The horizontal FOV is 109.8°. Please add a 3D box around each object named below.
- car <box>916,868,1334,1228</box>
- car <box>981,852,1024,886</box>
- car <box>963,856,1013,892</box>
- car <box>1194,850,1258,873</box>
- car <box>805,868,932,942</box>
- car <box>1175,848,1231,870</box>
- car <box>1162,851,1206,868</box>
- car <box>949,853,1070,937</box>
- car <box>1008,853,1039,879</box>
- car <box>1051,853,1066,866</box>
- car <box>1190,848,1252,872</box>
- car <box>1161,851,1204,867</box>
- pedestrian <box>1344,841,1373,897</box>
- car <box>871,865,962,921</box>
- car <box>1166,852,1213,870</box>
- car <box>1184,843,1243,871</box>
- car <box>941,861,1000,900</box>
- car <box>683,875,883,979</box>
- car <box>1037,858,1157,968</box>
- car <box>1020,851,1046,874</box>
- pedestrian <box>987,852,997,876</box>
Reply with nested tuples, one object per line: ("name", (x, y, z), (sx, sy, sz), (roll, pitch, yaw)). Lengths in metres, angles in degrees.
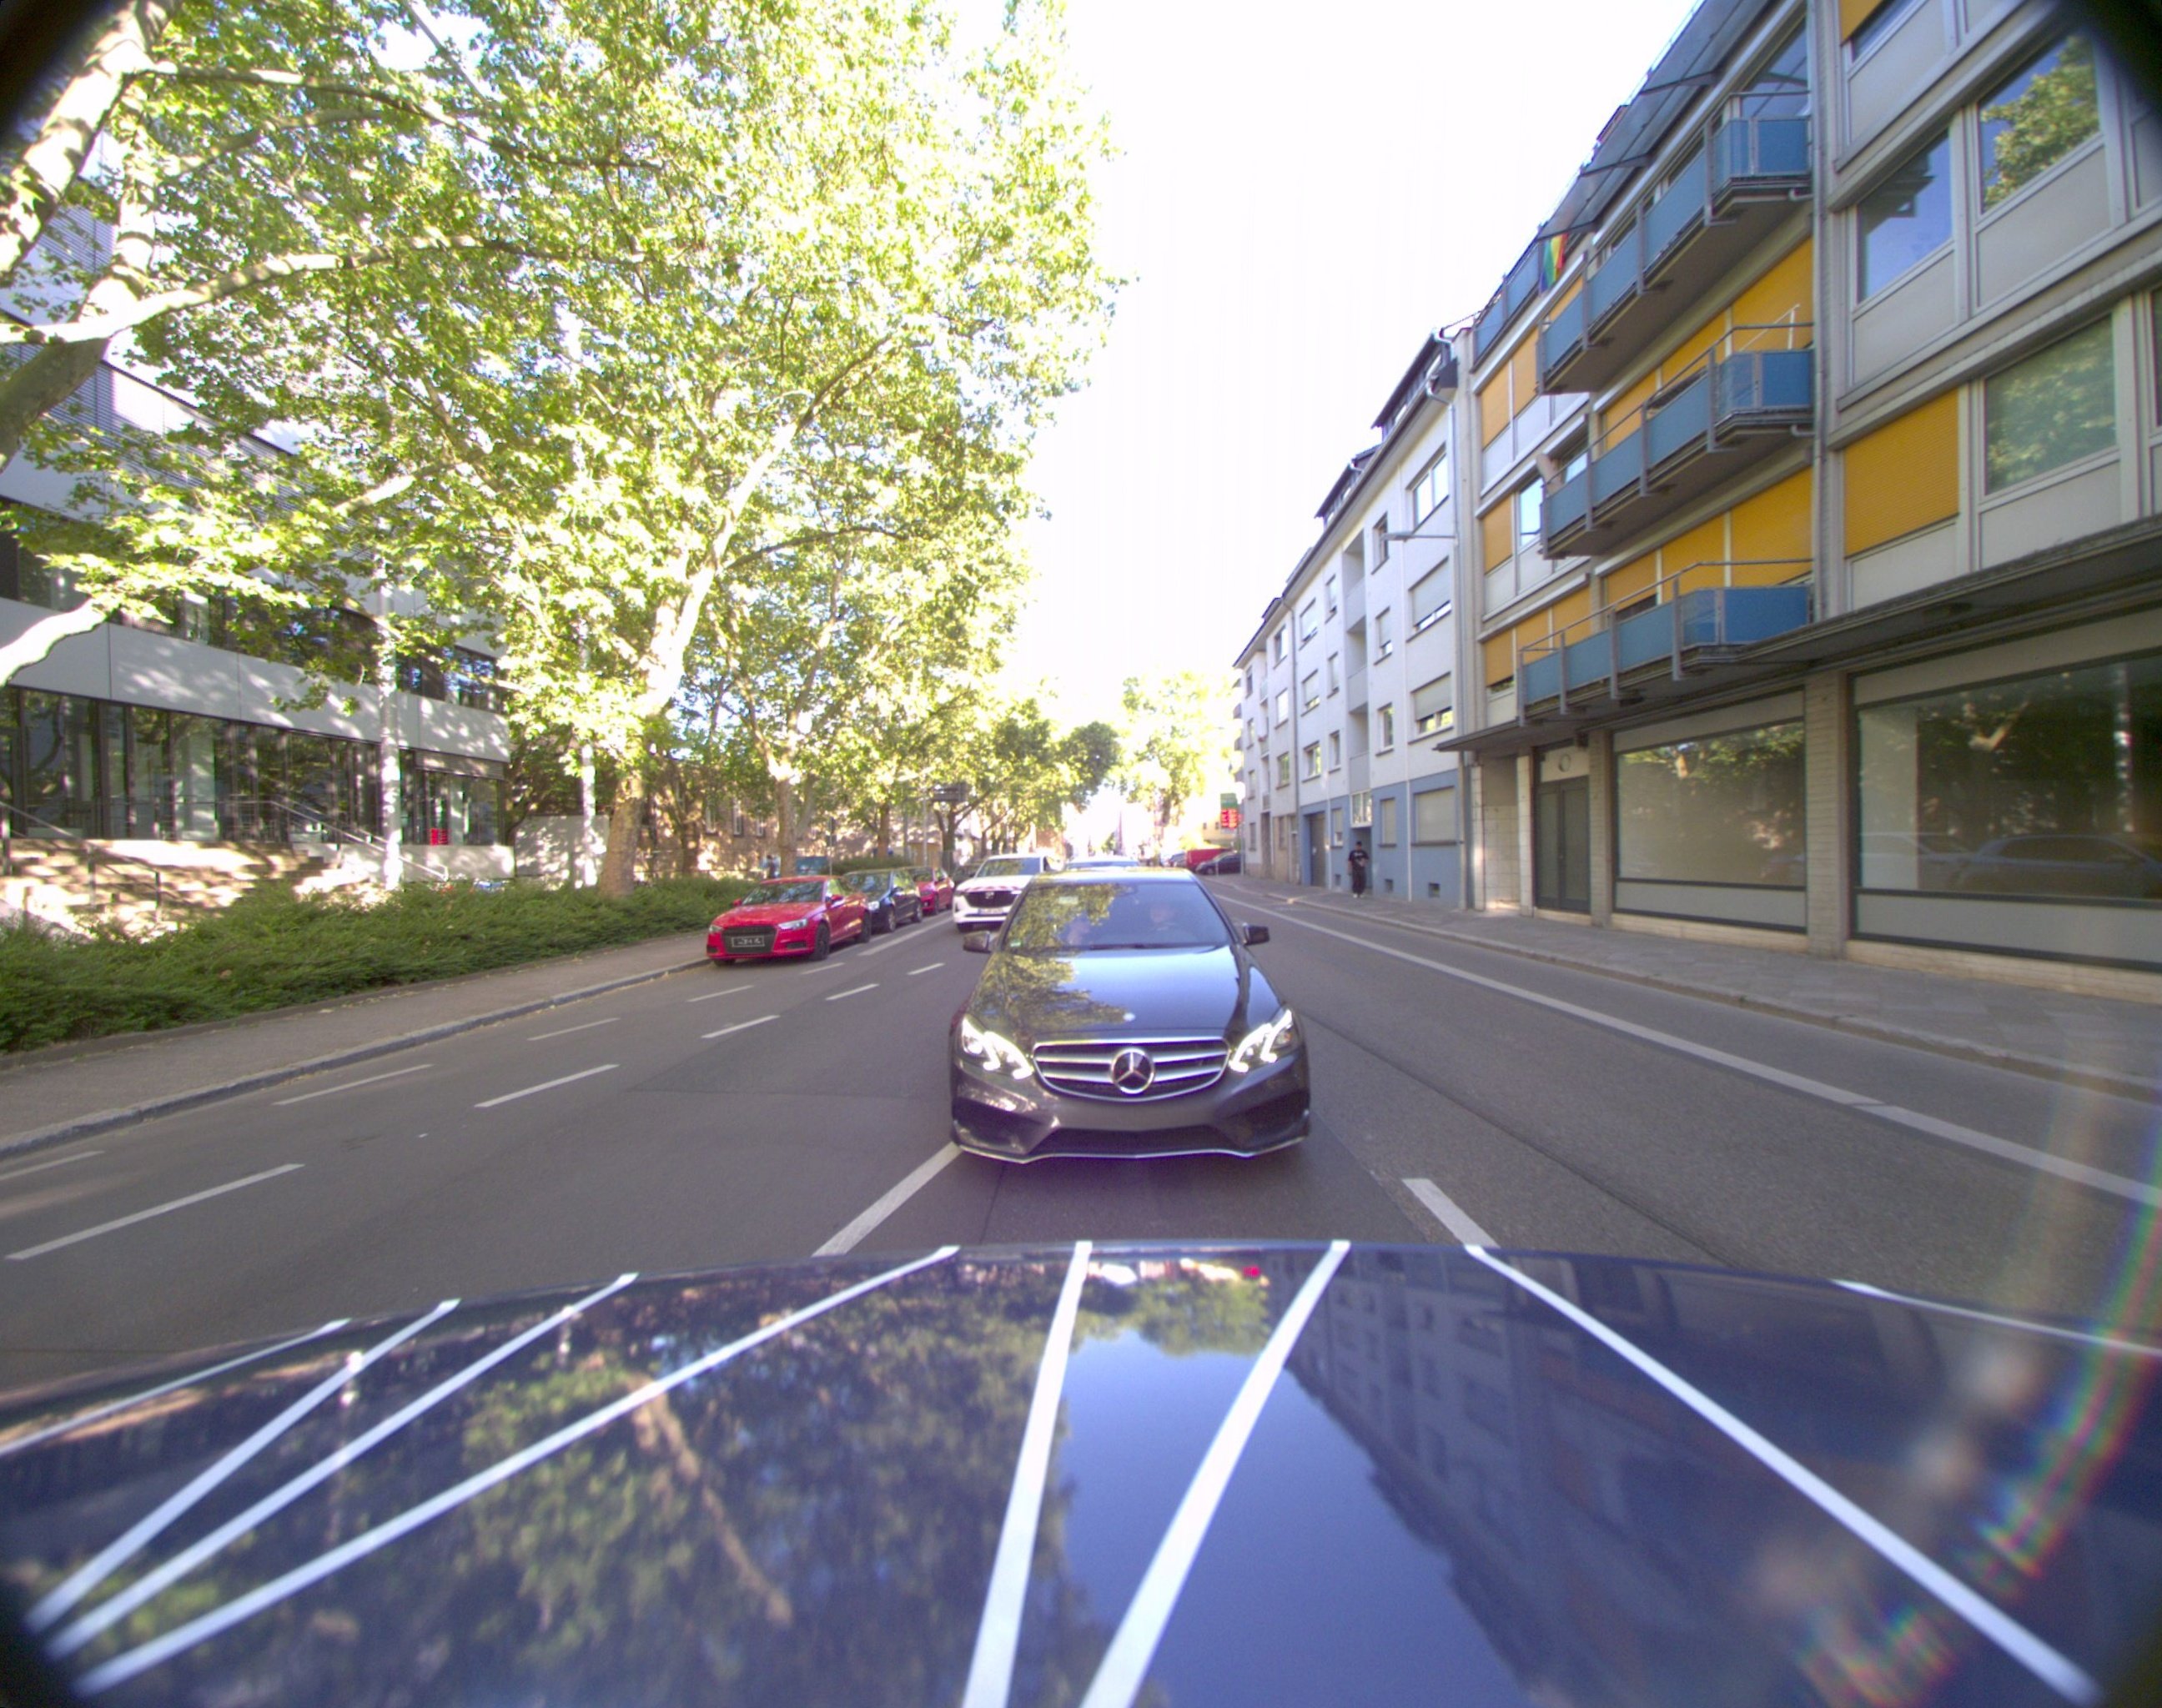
("car", (0.229, 0.918, 5.574), (1.849, 1.490, 4.302), (-1, 0, 1))
("car", (-4.503, 0.827, 44.118), (1.835, 1.787, 4.463), (-2, 0, 1))
("car", (-4.590, 0.969, 38.078), (1.835, 1.596, 4.161), (-2, 0, 1))
("car", (10.408, 0.521, 54.750), (4.255, 1.392, 1.653), (-4, 0, 1))
("car", (-5.035, 1.153, 18.634), (1.835, 1.438, 4.168), (-2, 0, 1))
("car", (10.060, 0.411, 62.714), (4.255, 1.461, 1.653), (-4, 0, 1))
("car", (10.613, 0.544, 78.653), (4.255, 1.461, 1.653), (-4, 0, 1))
("car", (-1.527, 0.857, 18.150), (1.908, 1.678, 4.814), (-2, 0, 6))
("car", (-4.172, 0.817, 55.643), (1.835, 1.750, 4.259), (-2, 0, 1))
("car", (-3.036, 0.693, 102.953), (1.835, 1.667, 4.259), (-2, 0, 1))
("car", (10.492, 0.457, 57.052), (4.255, 1.461, 1.653), (-4, 0, 1))
("car", (10.784, 0.518, 80.617), (4.255, 1.461, 1.653), (-4, 0, 1))
("pedestrian", (8.535, 0.469, 23.402), (0.612, 1.685, 0.655), (-2, 1, 1))
("car", (-5.037, 1.138, 23.844), (1.835, 1.459, 4.168), (-2, 0, 1))
("car", (10.442, 0.677, 73.195), (4.255, 1.461, 1.653), (-4, 0, 1))
("car", (10.423, 0.225, 60.132), (4.255, 1.907, 1.818), (-4, 0, 0))
("car", (-4.739, 1.108, 33.181), (1.835, 1.459, 4.168), (-2, 0, 1))
("car", (-5.125, 1.180, 13.773), (1.835, 1.396, 4.247), (-2, 0, 1))
("car", (0.273, 0.876, 13.136), (1.726, 1.530, 4.000), (-1, 0, 1))
("car", (-4.137, 0.688, 66.351), (1.835, 1.839, 4.259), (-2, 0, 1))
("pedestrian", (-6.994, 0.763, 60.031), (0.660, 1.849, 0.641), (-2, 1, 1))
